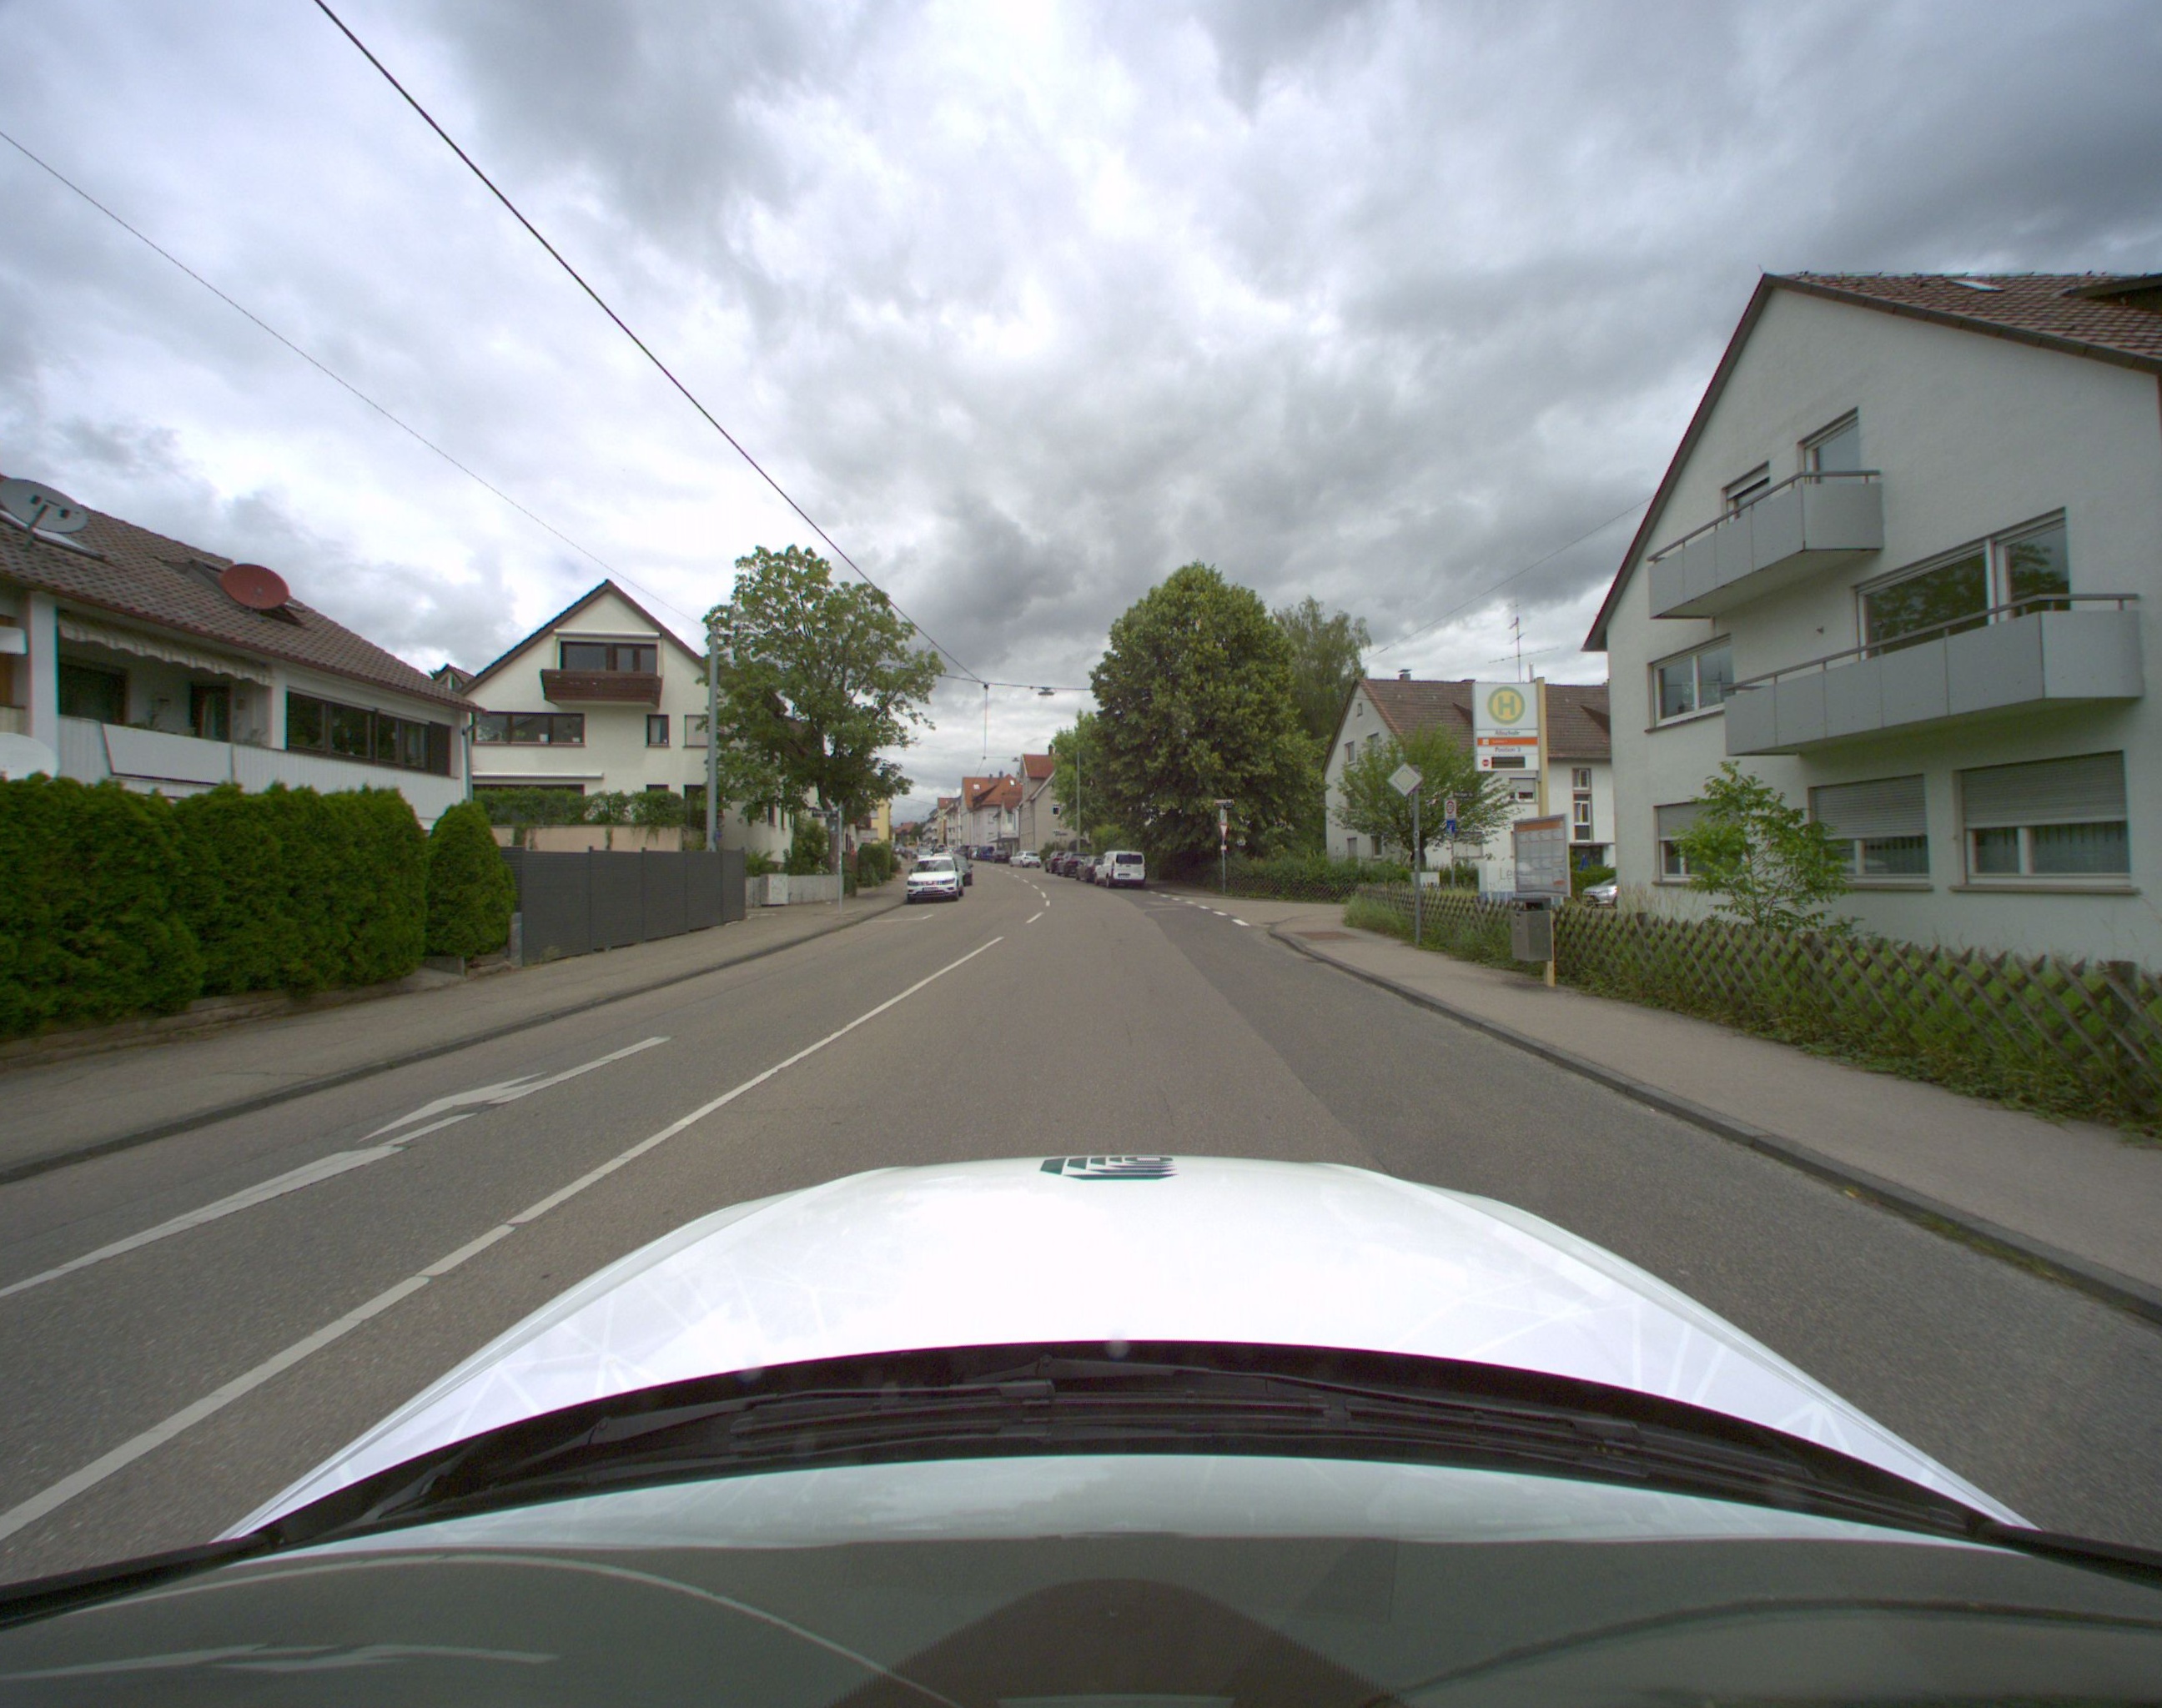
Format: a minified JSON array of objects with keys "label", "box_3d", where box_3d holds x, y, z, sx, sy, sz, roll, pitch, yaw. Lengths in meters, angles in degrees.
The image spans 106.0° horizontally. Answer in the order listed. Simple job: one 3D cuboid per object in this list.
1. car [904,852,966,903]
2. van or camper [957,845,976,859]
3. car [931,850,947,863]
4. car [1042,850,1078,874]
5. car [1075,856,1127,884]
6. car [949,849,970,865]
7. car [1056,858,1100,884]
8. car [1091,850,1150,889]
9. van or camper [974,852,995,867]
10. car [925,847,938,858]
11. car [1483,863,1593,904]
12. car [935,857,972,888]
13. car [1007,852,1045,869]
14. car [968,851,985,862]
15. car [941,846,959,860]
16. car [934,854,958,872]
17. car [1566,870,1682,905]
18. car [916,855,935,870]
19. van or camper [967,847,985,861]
[{"label":"car","box_3d":[-5.484,0.833,31.062,1.847,1.714,4.567,-2,0,-5]},{"label":"van or camper","box_3d":[-17.424,-0.284,123.818,1.997,2.065,5.914,2,0,-15]},{"label":"car","box_3d":[-23.958,0.430,137.188,2.157,2.013,3.978,1,0,-16]},{"label":"car","box_3d":[-1.525,0.536,57.957,1.811,1.615,4.522,1,-1,-11]},{"label":"car","box_3d":[1.060,0.867,45.627,1.994,1.478,4.603,-1,0,-11]},{"label":"car","box_3d":[-16.037,0.433,107.332,2.157,2.013,3.978,1,0,-16]},{"label":"car","box_3d":[-0.236,1.057,52.219,1.994,1.615,4.522,1,-1,-11]},{"label":"car","box_3d":[1.886,0.705,40.067,1.839,1.774,4.299,2,0,-12]},{"label":"van or camper","box_3d":[-12.494,0.680,104.876,1.930,1.925,4.805,0,0,-16]},{"label":"car","box_3d":[-28.863,-0.272,157.313,2.157,2.013,3.978,1,0,-16]},{"label":"car","box_3d":[18.337,1.209,32.741,3.702,1.564,1.679,1,-4,-14]},{"label":"car","box_3d":[-6.782,0.937,43.087,1.763,1.438,4.062,-2,1,-11]},{"label":"car","box_3d":[-4.889,0.593,71.941,1.952,1.439,3.964,0,0,-28]},{"label":"car","box_3d":[-14.186,0.274,110.327,1.717,1.436,4.614,1,0,-16]},{"label":"car","box_3d":[-19.585,-0.083,121.390,2.157,2.013,3.978,1,0,-16]},{"label":"car","box_3d":[-11.909,0.784,71.744,1.728,1.458,3.881,-4,1,-13]},{"label":"car","box_3d":[22.440,1.402,33.733,3.725,1.370,1.838,1,-3,-8]},{"label":"car","box_3d":[-18.241,1.025,95.565,1.833,1.578,4.020,-4,1,-8]},{"label":"van or camper","box_3d":[-15.070,0.014,116.301,1.875,1.829,4.655,2,0,-16]}]
